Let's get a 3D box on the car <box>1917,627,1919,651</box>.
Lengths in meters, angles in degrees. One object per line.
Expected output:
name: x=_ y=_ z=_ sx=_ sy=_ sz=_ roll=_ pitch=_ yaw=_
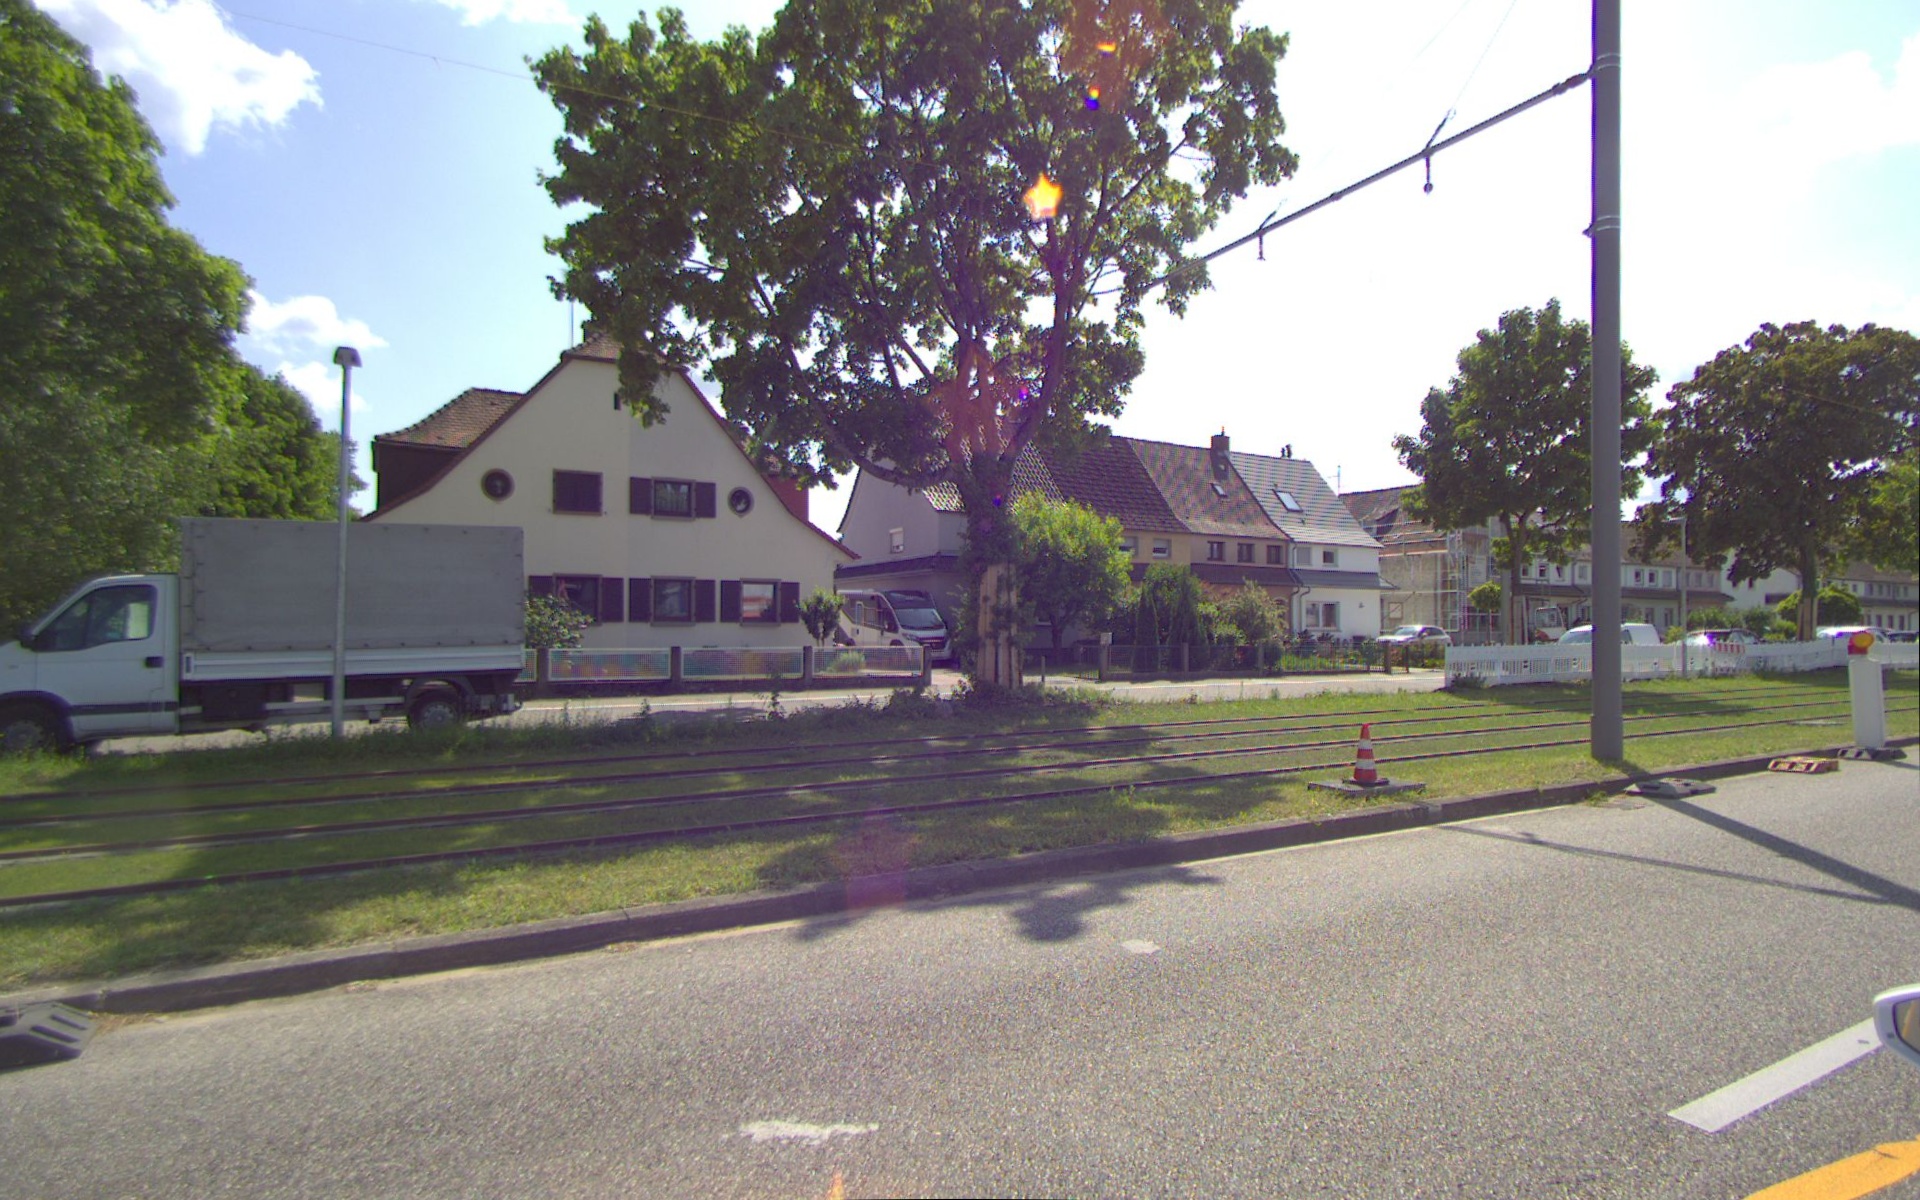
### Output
car: x=72.127 y=2.842 z=73.665 sx=4.013 sy=1.762 sz=1.691 roll=1 pitch=-2 yaw=-30

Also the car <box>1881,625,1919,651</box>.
car: x=66.744 y=2.678 z=70.729 sx=4.013 sy=1.762 sz=1.691 roll=1 pitch=-2 yaw=-30

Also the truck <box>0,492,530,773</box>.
truck: x=-8.803 y=0.413 z=12.928 sx=5.805 sy=3.027 sz=1.994 roll=1 pitch=-2 yaw=-30

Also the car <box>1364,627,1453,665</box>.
car: x=19.882 y=1.991 z=44.475 sx=3.814 sy=1.614 sz=1.691 roll=1 pitch=-2 yaw=-30

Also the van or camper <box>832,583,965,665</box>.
van or camper: x=-2.357 y=0.905 z=36.645 sx=2.224 sy=2.745 sz=5.963 roll=1 pitch=-2 yaw=-33

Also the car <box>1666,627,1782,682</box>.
car: x=25.740 y=1.797 z=33.823 sx=4.006 sy=1.762 sz=1.691 roll=1 pitch=-2 yaw=-30

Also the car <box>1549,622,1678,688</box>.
car: x=19.495 y=1.602 z=29.956 sx=3.814 sy=1.841 sz=1.691 roll=1 pitch=-2 yaw=-30

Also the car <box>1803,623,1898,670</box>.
car: x=34.954 y=1.800 z=39.418 sx=3.814 sy=1.762 sz=1.691 roll=1 pitch=-2 yaw=-30

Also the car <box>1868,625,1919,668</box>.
car: x=40.382 y=1.958 z=42.597 sx=3.814 sy=1.762 sz=1.691 roll=1 pitch=-2 yaw=-30
